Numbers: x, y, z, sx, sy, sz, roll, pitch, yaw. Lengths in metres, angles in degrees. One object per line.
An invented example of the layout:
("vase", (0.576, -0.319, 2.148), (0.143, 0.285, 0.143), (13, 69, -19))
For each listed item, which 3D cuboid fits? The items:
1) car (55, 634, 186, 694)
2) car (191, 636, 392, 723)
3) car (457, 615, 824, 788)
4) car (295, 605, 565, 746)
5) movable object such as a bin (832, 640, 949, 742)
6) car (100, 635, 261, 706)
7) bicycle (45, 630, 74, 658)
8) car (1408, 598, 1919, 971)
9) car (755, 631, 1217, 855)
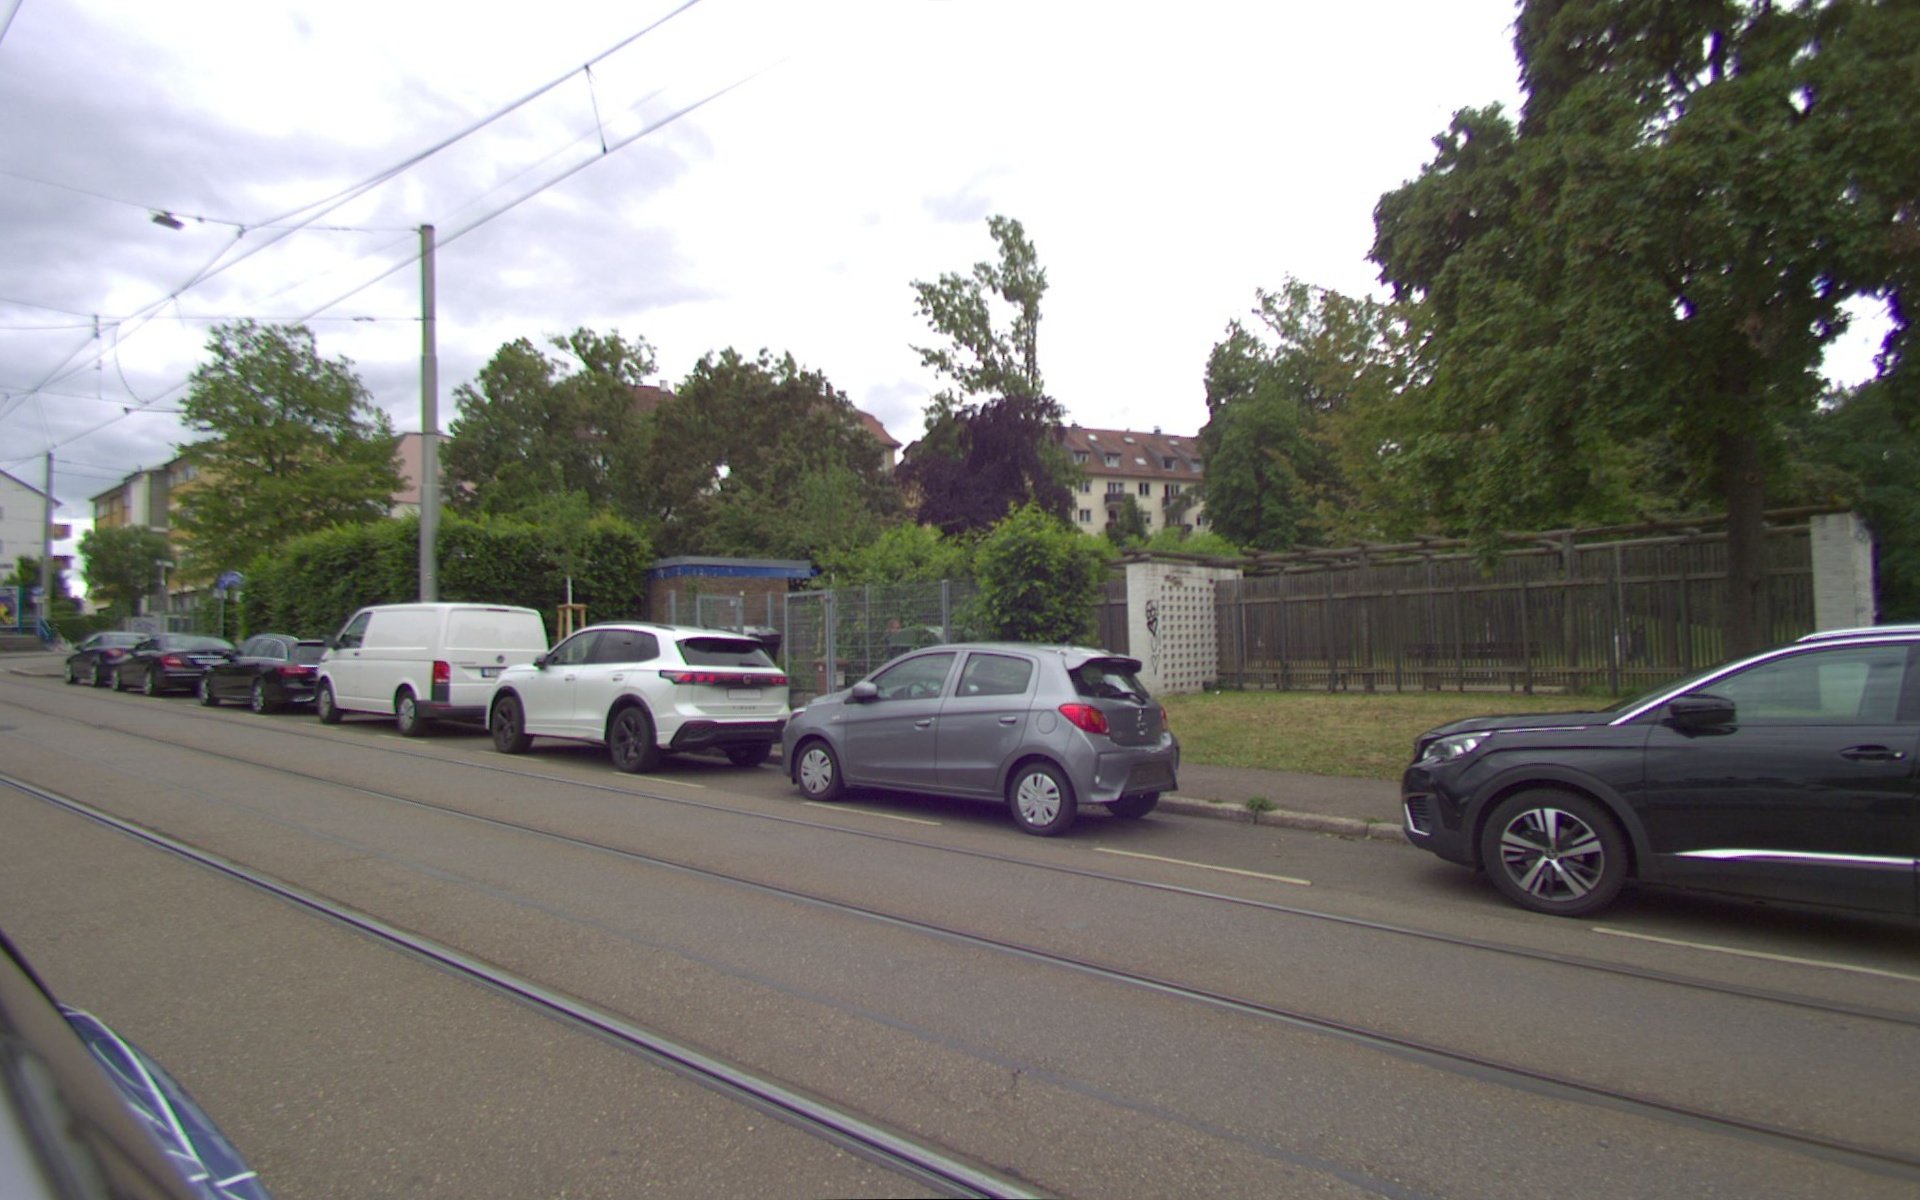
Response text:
("car", (-22.407, 1.650, 26.972), (4.155, 1.415, 1.773), (0, -2, 37))
("car", (-12.928, 1.449, 19.481), (4.511, 1.397, 1.822), (0, -2, 37))
("car", (-4.016, 1.076, 12.368), (4.626, 1.699, 1.950), (0, -2, 37))
("car", (-8.510, 1.074, 16.089), (4.727, 1.927, 1.950), (0, -2, 37))
("movable object such as a bin", (-1.034, 1.326, 15.178), (1.201, 1.383, 1.263), (-1, 0, 39))
("car", (-18.073, 1.564, 23.397), (4.433, 1.397, 1.822), (0, -2, 37))
("bicycle", (-40.040, 1.945, 44.992), (1.486, 1.190, 0.705), (0, -2, 39))
("car", (4.985, 0.876, 5.404), (4.437, 1.699, 1.950), (0, -2, 37))
("car", (0.128, 1.084, 9.053), (3.863, 1.520, 1.722), (0, -2, 37))
